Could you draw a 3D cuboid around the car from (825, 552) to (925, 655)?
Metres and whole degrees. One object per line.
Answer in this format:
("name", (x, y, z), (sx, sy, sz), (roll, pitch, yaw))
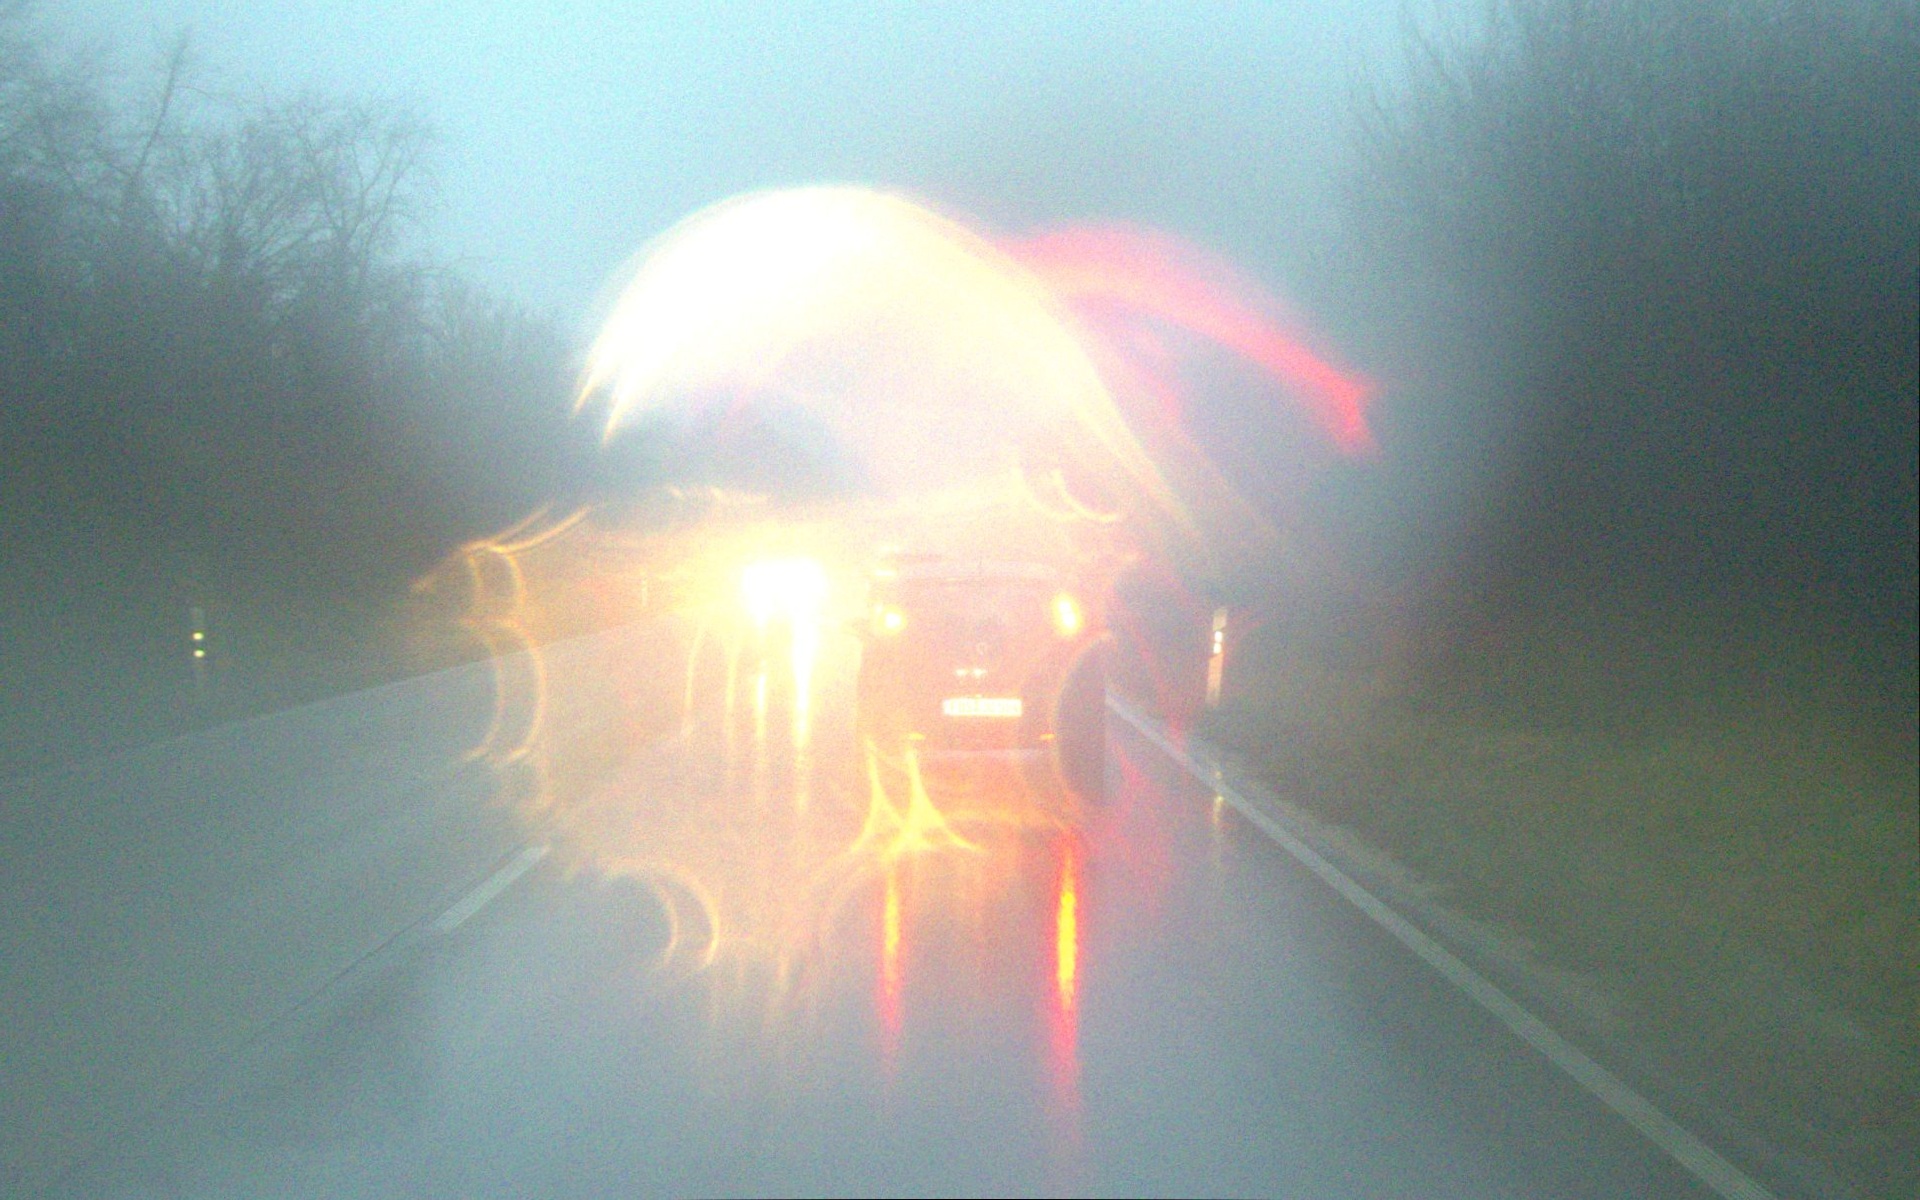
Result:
("car", (-1.519, 0.039, 62.080), (1.733, 1.773, 4.000), (1, 1, -1))

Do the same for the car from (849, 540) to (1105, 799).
("car", (0.089, 0.433, 24.175), (1.648, 1.666, 3.514), (1, 1, -1))
